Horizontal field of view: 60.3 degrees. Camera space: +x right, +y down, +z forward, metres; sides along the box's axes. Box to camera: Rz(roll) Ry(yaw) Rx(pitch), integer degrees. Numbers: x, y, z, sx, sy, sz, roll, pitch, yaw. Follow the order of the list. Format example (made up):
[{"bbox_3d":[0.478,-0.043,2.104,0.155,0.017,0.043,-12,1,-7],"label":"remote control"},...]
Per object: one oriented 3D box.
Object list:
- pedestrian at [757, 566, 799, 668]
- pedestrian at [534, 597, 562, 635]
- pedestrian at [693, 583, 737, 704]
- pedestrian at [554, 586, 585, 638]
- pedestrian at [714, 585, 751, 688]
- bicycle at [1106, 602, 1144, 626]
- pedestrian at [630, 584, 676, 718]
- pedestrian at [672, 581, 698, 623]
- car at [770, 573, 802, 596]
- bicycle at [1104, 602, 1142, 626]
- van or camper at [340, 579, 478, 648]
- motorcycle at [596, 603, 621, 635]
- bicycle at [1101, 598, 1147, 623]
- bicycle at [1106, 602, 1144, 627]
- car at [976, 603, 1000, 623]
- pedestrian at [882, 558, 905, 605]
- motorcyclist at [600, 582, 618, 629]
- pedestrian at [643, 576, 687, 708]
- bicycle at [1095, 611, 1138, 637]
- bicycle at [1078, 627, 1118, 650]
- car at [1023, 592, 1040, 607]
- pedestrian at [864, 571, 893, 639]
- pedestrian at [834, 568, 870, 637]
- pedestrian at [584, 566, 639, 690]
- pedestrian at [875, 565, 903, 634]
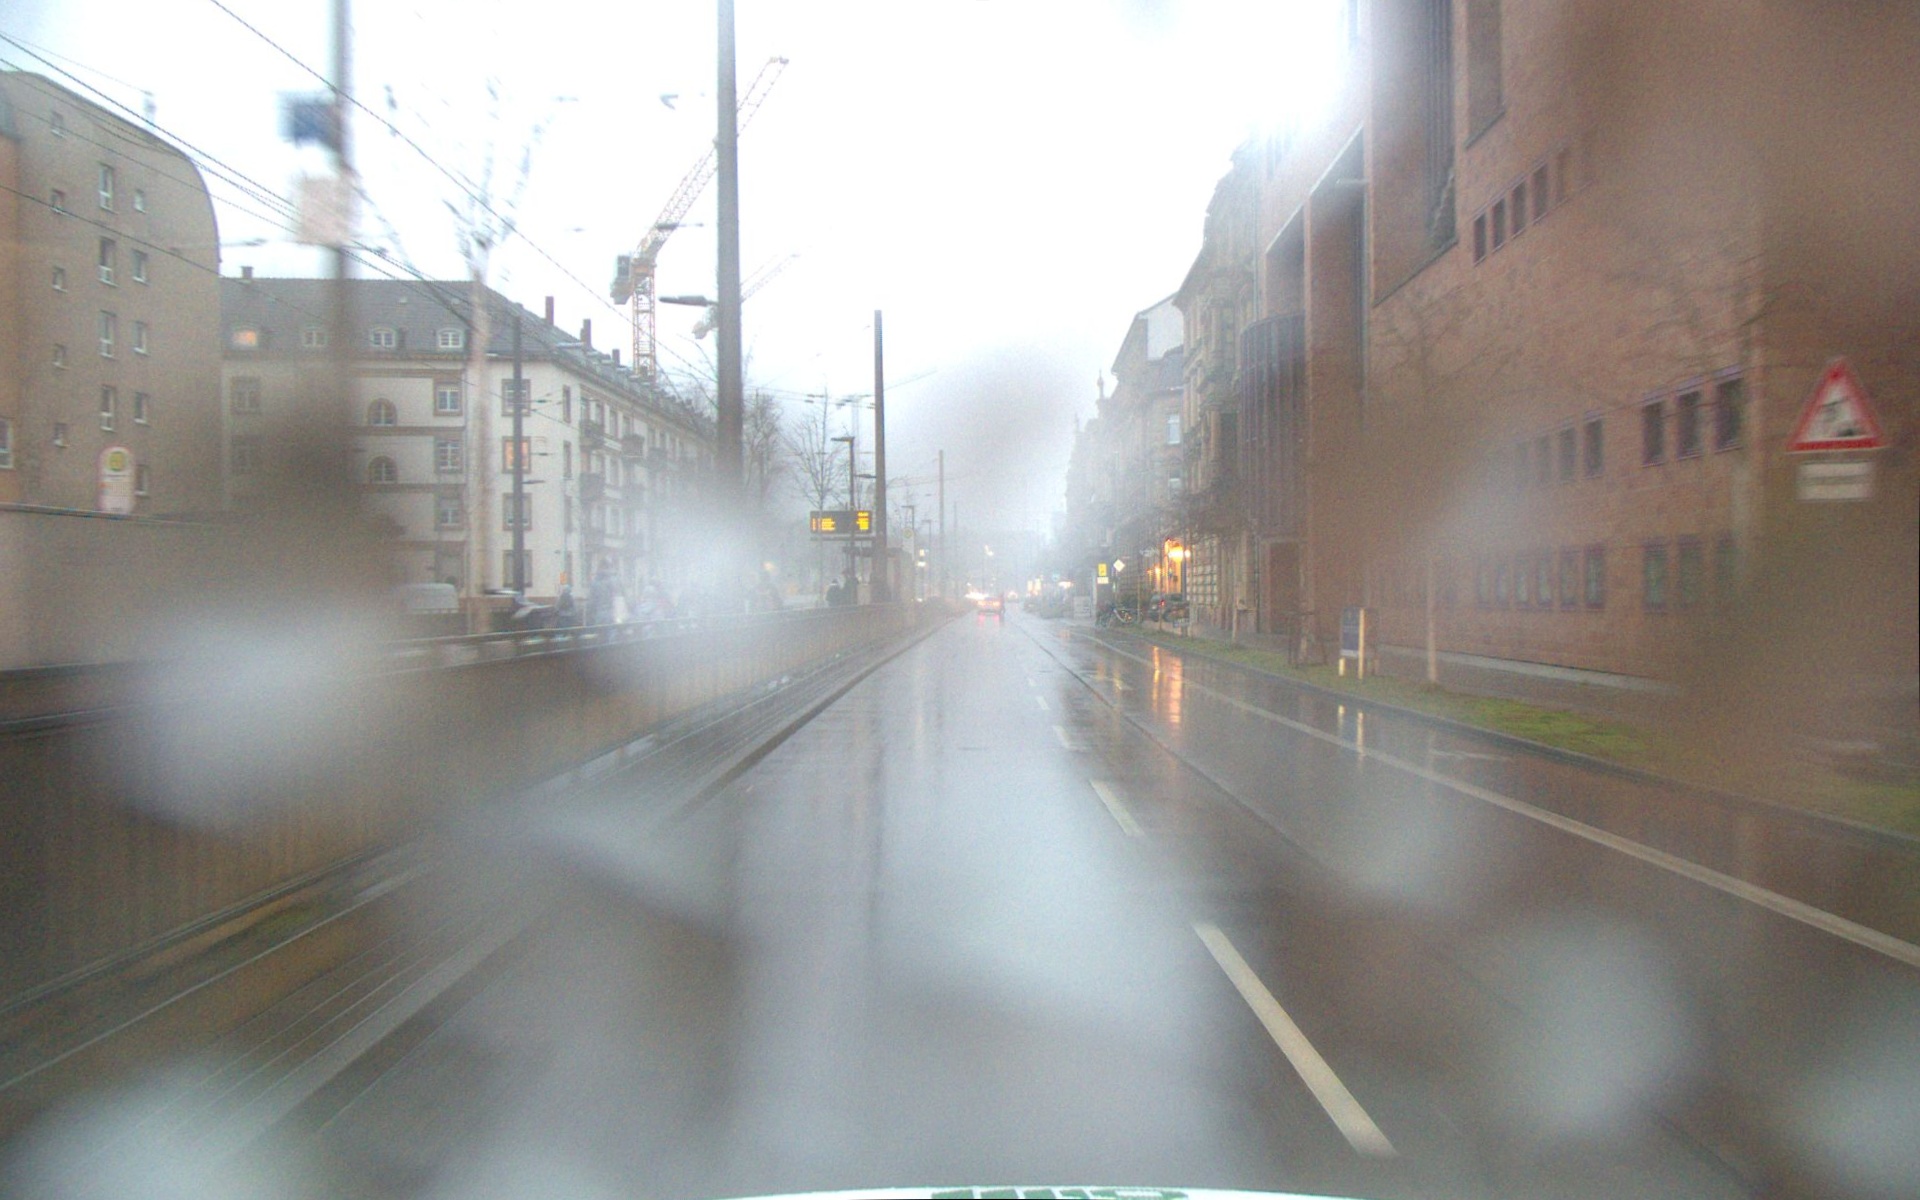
[{"bbox_3d":[-3.140,0.293,28.495,0.635,1.733,0.565,0,0,-17],"label":"pedestrian"},{"bbox_3d":[-12.309,0.475,49.372,0.603,1.122,0.583,1,0,-40],"label":"pedestrian"},{"bbox_3d":[-3.340,0.588,22.575,0.529,1.618,0.563,0,0,-1],"label":"pedestrian"},{"bbox_3d":[-11.691,0.358,49.535,0.630,1.551,0.745,1,0,-40],"label":"pedestrian"},{"bbox_3d":[-3.818,0.605,27.800,0.529,1.722,0.643,0,0,-1],"label":"pedestrian"},{"bbox_3d":[7.772,0.673,77.892,1.694,1.073,0.371,-2,0,0],"label":"bicycle"},{"bbox_3d":[-3.756,0.615,20.251,0.471,1.618,0.563,0,0,-1],"label":"pedestrian"},{"bbox_3d":[-11.874,0.078,71.319,0.790,1.811,0.811,1,0,-41],"label":"pedestrian"},{"bbox_3d":[-11.047,-0.987,105.074,1.647,1.378,3.546,0,0,0],"label":"car"},{"bbox_3d":[7.640,0.667,77.444,1.694,1.073,0.371,-2,0,0],"label":"bicycle"},{"bbox_3d":[-23.067,0.534,69.637,2.714,2.729,6.759,1,0,8],"label":"van or camper"},{"bbox_3d":[-11.615,0.615,54.729,0.502,1.026,1.806,1,0,-3],"label":"motorcycle"},{"bbox_3d":[7.947,0.518,80.148,2.100,1.073,0.425,-3,1,0],"label":"bicycle"},{"bbox_3d":[7.690,0.666,76.941,1.694,1.073,0.371,-2,0,0],"label":"bicycle"},{"bbox_3d":[2.283,1.045,133.553,1.747,1.492,3.150,-1,0,3],"label":"car"},{"bbox_3d":[-2.182,-0.605,54.175,0.667,1.542,0.617,0,0,-11],"label":"pedestrian"},{"bbox_3d":[-11.605,0.187,54.738,0.489,1.522,0.556,1,0,-4],"label":"motorcyclist"},{"bbox_3d":[-3.878,0.546,21.772,0.471,1.708,0.563,0,0,-1],"label":"pedestrian"},{"bbox_3d":[7.476,1.130,79.004,1.967,1.114,0.425,-4,0,0],"label":"bicycle"},{"bbox_3d":[7.077,1.966,84.597,2.061,1.070,0.474,-2,0,-26],"label":"bicycle"},{"bbox_3d":[7.994,-0.093,184.992,1.761,1.632,3.771,-1,0,4],"label":"car"},{"bbox_3d":[-2.384,0.136,48.420,0.793,1.981,0.805,0,0,2],"label":"pedestrian"},{"bbox_3d":[-2.739,0.069,41.915,0.764,1.733,0.769,0,0,-17],"label":"pedestrian"},{"bbox_3d":[-4.623,0.368,21.991,0.605,1.618,0.622,0,0,-2],"label":"pedestrian"},{"bbox_3d":[-2.218,-0.022,51.921,0.793,2.147,0.805,0,0,2],"label":"pedestrian"}]
